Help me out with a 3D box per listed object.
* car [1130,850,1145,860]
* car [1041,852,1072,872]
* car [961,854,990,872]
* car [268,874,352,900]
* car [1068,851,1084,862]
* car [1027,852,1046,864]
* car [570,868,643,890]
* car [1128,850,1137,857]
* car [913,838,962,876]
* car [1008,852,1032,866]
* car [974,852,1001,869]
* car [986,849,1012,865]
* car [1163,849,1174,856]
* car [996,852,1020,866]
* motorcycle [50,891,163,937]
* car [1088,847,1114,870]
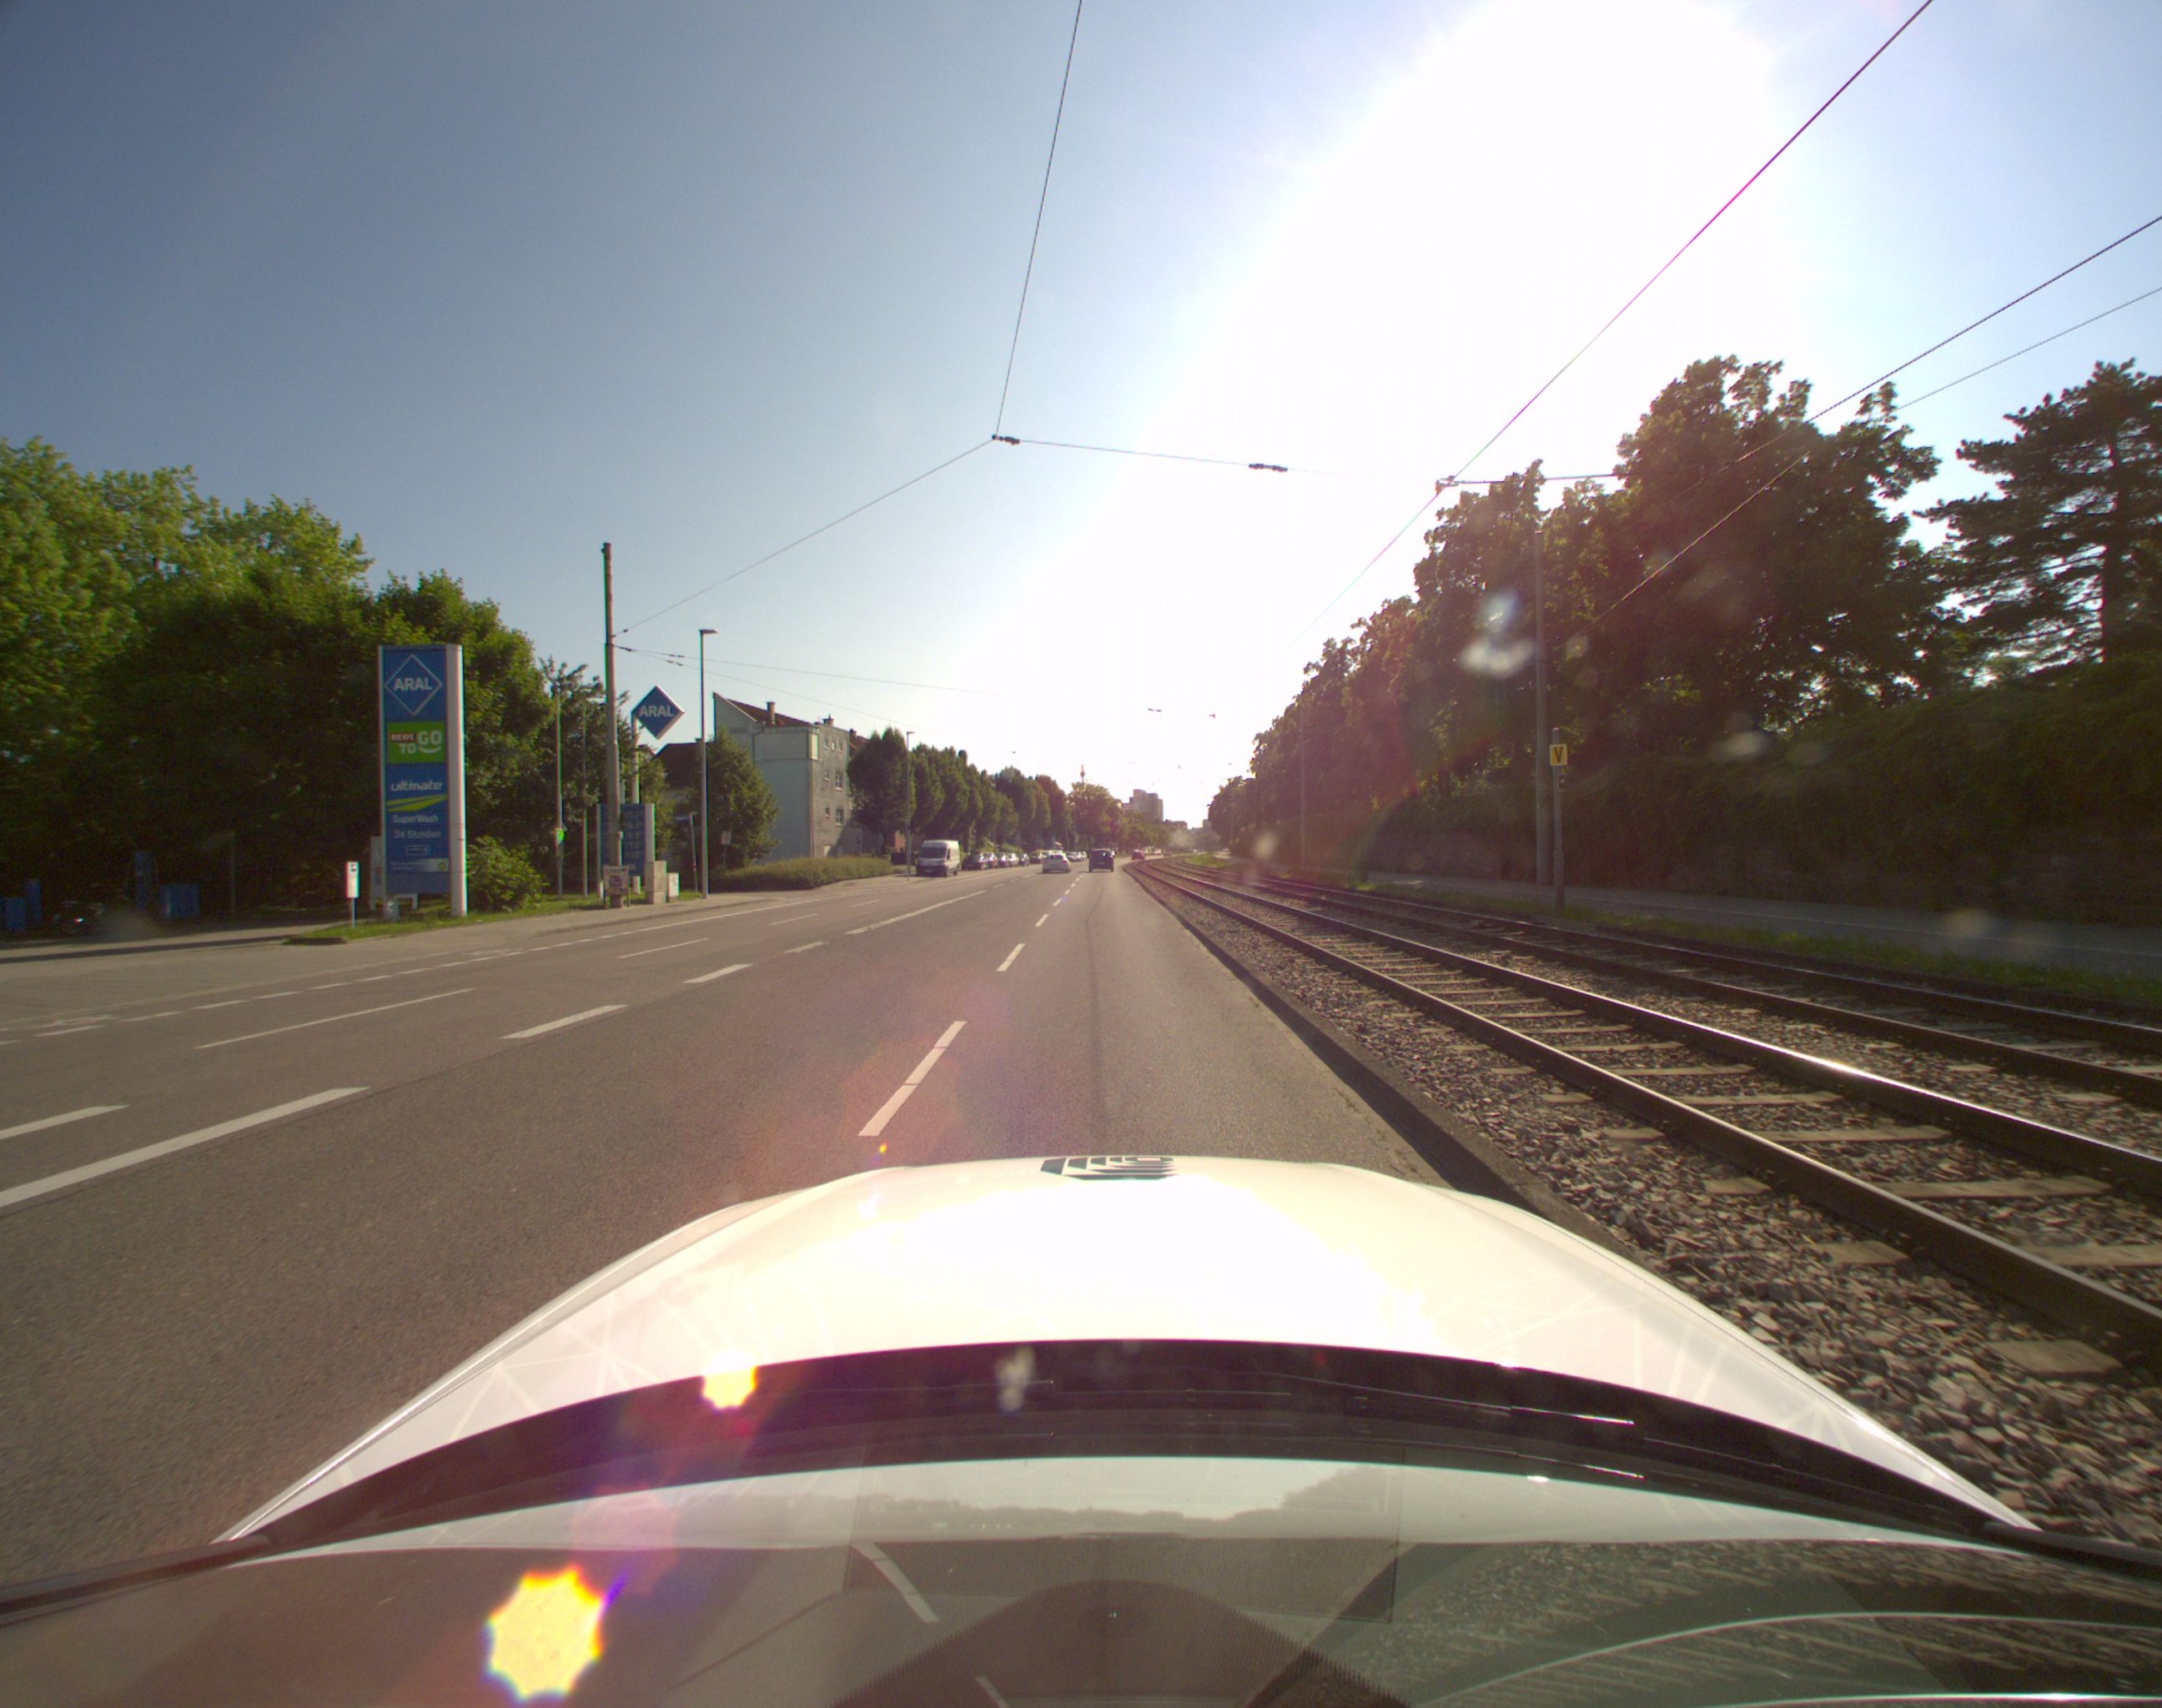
[{"bbox_3d":[8.568,0.138,123.025,1.800,1.449,4.011,0,0,10],"label":"car"},{"bbox_3d":[-1.667,0.520,56.719,1.857,1.348,4.002,-1,0,2],"label":"car"},{"bbox_3d":[-9.209,0.750,71.624,1.645,1.424,4.717,-1,0,3],"label":"car"},{"bbox_3d":[-44.944,1.914,47.501,3.957,1.390,1.713,-1,0,16],"label":"car"},{"bbox_3d":[-0.743,0.371,131.584,1.752,1.539,3.993,4,1,11],"label":"car"},{"bbox_3d":[-5.706,0.462,105.462,1.607,1.465,4.068,1,0,8],"label":"car"},{"bbox_3d":[-29.722,1.588,51.041,3.756,1.268,1.751,-1,0,14],"label":"car"},{"bbox_3d":[12.960,-0.207,206.105,1.720,1.658,4.014,-1,0,12],"label":"car"},{"bbox_3d":[-9.911,0.179,56.798,2.144,2.457,6.185,1,0,1],"label":"car"},{"bbox_3d":[-7.030,0.540,94.162,1.856,1.544,4.919,1,0,7],"label":"car"},{"bbox_3d":[-8.850,0.600,77.364,1.755,1.574,4.166,-1,0,4],"label":"car"},{"bbox_3d":[-8.318,0.330,83.069,1.754,1.574,4.306,1,0,6],"label":"car"},{"bbox_3d":[19.303,-0.297,179.532,1.798,1.449,4.015,0,0,14],"label":"car"},{"bbox_3d":[-7.856,0.589,88.321,1.704,1.471,4.851,1,-1,5],"label":"car"},{"bbox_3d":[-24.668,1.496,20.671,0.515,0.982,1.906,-1,0,1],"label":"motorcycle"},{"bbox_3d":[1.489,0.326,59.255,1.804,1.645,4.002,0,0,2],"label":"car"}]
